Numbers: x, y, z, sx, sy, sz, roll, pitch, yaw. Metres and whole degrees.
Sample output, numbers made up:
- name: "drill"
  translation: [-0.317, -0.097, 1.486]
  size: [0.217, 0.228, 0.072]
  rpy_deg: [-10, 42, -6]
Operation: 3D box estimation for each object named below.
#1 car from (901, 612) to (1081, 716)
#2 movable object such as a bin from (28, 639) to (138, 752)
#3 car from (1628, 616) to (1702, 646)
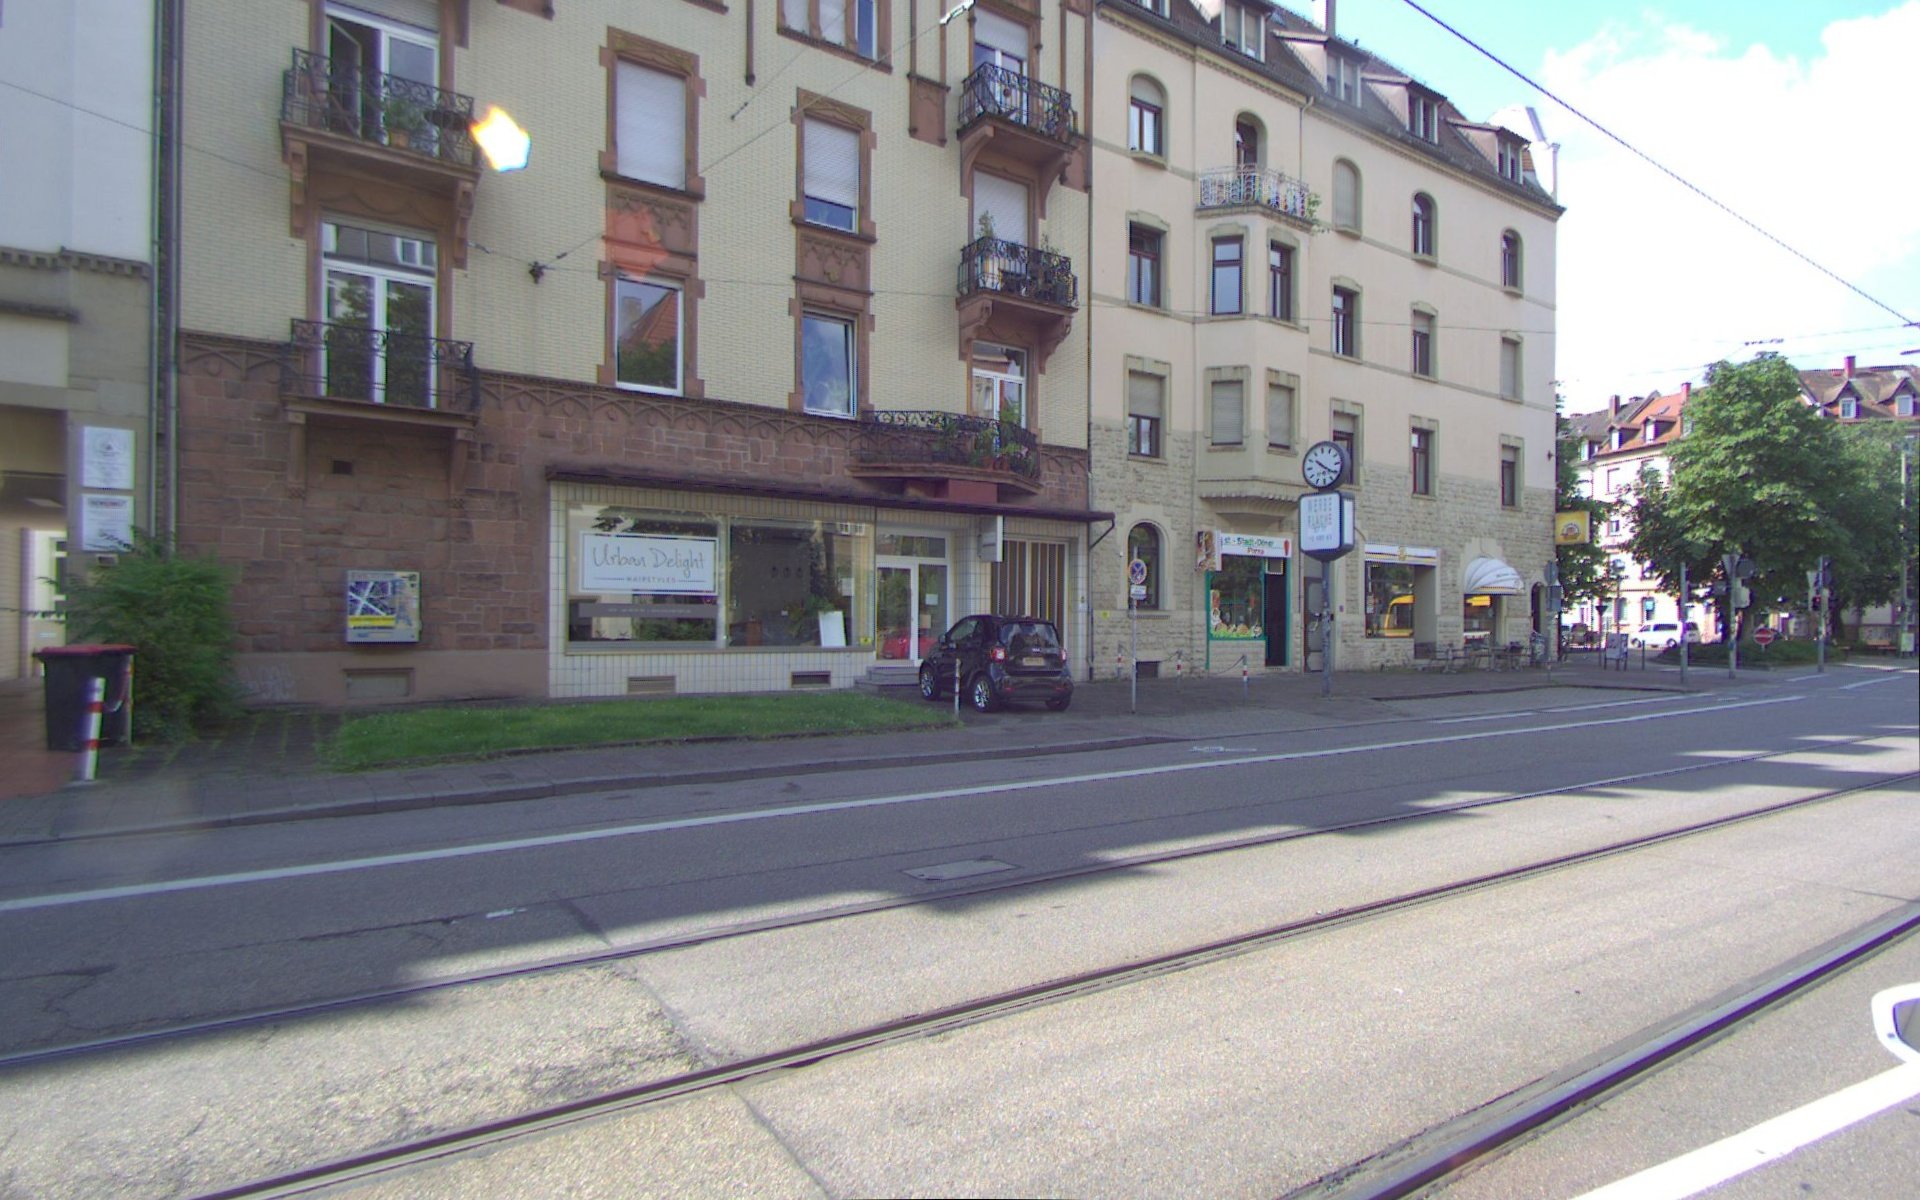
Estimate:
- name: "car"
  translation: [0.448, 1.023, 17.354]
  size: [1.659, 1.533, 3.221]
  rpy_deg: [1, 0, -29]
- name: "movable object such as a bin"
  translation: [-9.080, 0.974, 10.419]
  size: [0.595, 1.084, 0.597]
  rpy_deg: [2, 1, 1]
- name: "car"
  translation: [53.117, 2.381, 75.762]
  size: [1.972, 2.039, 4.112]
  rpy_deg: [1, -4, -23]
